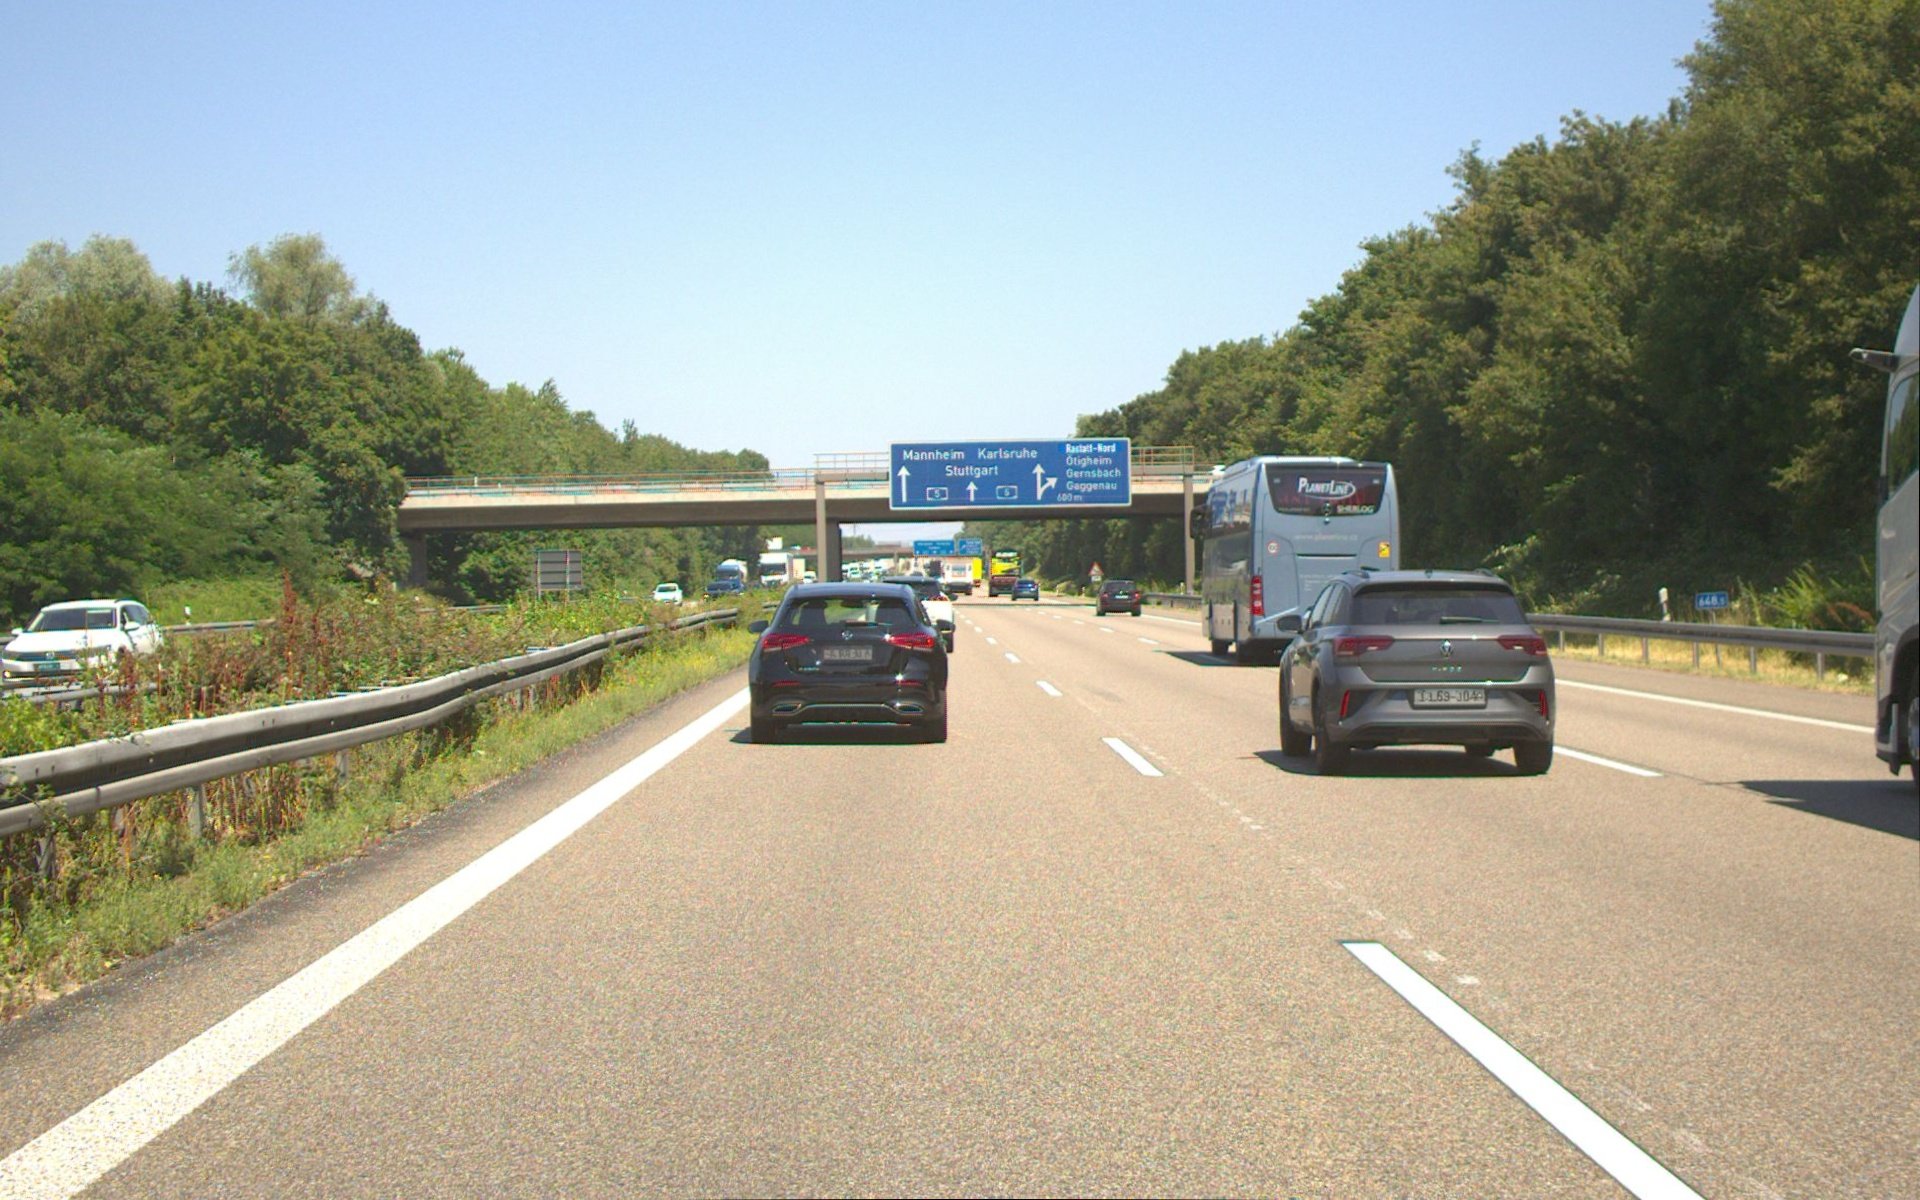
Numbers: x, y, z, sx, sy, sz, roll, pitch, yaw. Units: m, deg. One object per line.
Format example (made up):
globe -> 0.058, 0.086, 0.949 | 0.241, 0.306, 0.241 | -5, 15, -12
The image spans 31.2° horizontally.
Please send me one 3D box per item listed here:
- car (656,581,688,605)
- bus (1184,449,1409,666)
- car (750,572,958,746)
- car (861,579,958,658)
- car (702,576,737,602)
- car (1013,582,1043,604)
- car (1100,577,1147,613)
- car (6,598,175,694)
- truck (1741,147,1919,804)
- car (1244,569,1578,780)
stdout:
car -> -20.016, -0.477, 239.150 | 1.899, 1.588, 4.743 | -1, 0, -2
bus -> 5.991, -0.742, 63.346 | 2.802, 3.584, 12.474 | 0, 0, 0
car -> -0.984, 0.500, 32.070 | 1.799, 1.497, 4.242 | 0, 0, -2
car -> -1.057, 0.344, 69.697 | 1.899, 1.527, 4.242 | 0, 0, -2
car -> -14.509, -0.660, 207.626 | 1.807, 1.478, 4.417 | -3, 0, -1
car -> 4.777, -0.478, 242.736 | 2.081, 1.527, 4.241 | 0, 0, 0
car -> 6.715, -0.211, 141.461 | 1.789, 1.456, 3.949 | 0, 0, 0
car -> -14.085, 0.716, 55.932 | 1.633, 1.422, 4.661 | -2, 0, -2
truck -> 7.615, -0.801, 23.370 | 3.047, 4.201, 6.049 | 1, 0, -2
car -> 3.484, 0.522, 27.412 | 1.899, 1.527, 4.760 | 0, 0, -2
